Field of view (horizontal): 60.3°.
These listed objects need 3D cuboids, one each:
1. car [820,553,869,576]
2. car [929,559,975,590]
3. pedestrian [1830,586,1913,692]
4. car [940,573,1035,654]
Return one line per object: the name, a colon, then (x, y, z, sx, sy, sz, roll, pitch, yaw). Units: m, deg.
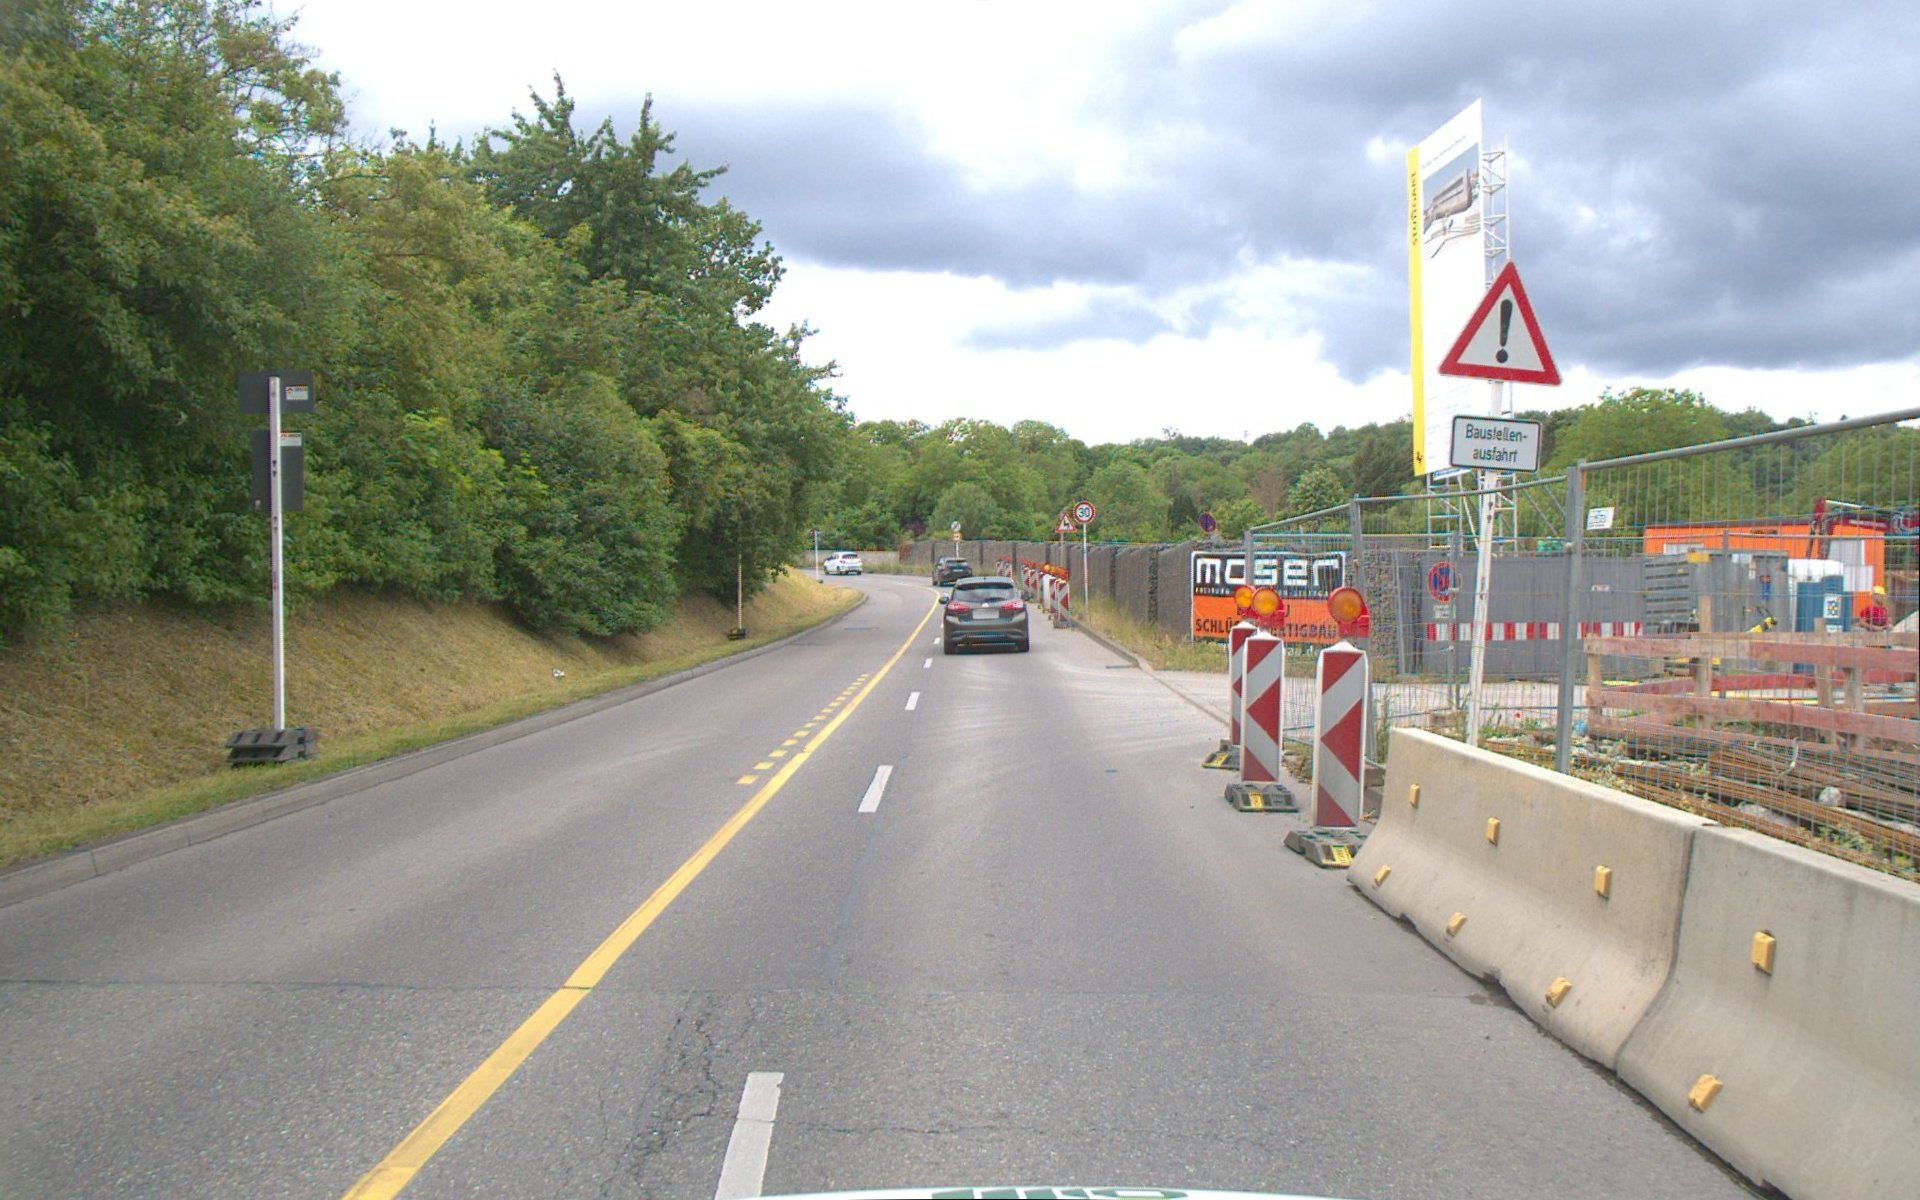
car: (-7.687, -2.381, 109.910, 1.812, 1.464, 3.883, -1, 3, -28)
car: (-0.420, -1.295, 85.877, 1.747, 1.478, 3.848, 1, -1, -10)
pedestrian: (17.048, 0.721, 30.948, 0.809, 1.935, 1.153, 1, -1, -10)
car: (0.527, 0.242, 34.782, 1.802, 1.509, 4.000, -3, 1, -1)
